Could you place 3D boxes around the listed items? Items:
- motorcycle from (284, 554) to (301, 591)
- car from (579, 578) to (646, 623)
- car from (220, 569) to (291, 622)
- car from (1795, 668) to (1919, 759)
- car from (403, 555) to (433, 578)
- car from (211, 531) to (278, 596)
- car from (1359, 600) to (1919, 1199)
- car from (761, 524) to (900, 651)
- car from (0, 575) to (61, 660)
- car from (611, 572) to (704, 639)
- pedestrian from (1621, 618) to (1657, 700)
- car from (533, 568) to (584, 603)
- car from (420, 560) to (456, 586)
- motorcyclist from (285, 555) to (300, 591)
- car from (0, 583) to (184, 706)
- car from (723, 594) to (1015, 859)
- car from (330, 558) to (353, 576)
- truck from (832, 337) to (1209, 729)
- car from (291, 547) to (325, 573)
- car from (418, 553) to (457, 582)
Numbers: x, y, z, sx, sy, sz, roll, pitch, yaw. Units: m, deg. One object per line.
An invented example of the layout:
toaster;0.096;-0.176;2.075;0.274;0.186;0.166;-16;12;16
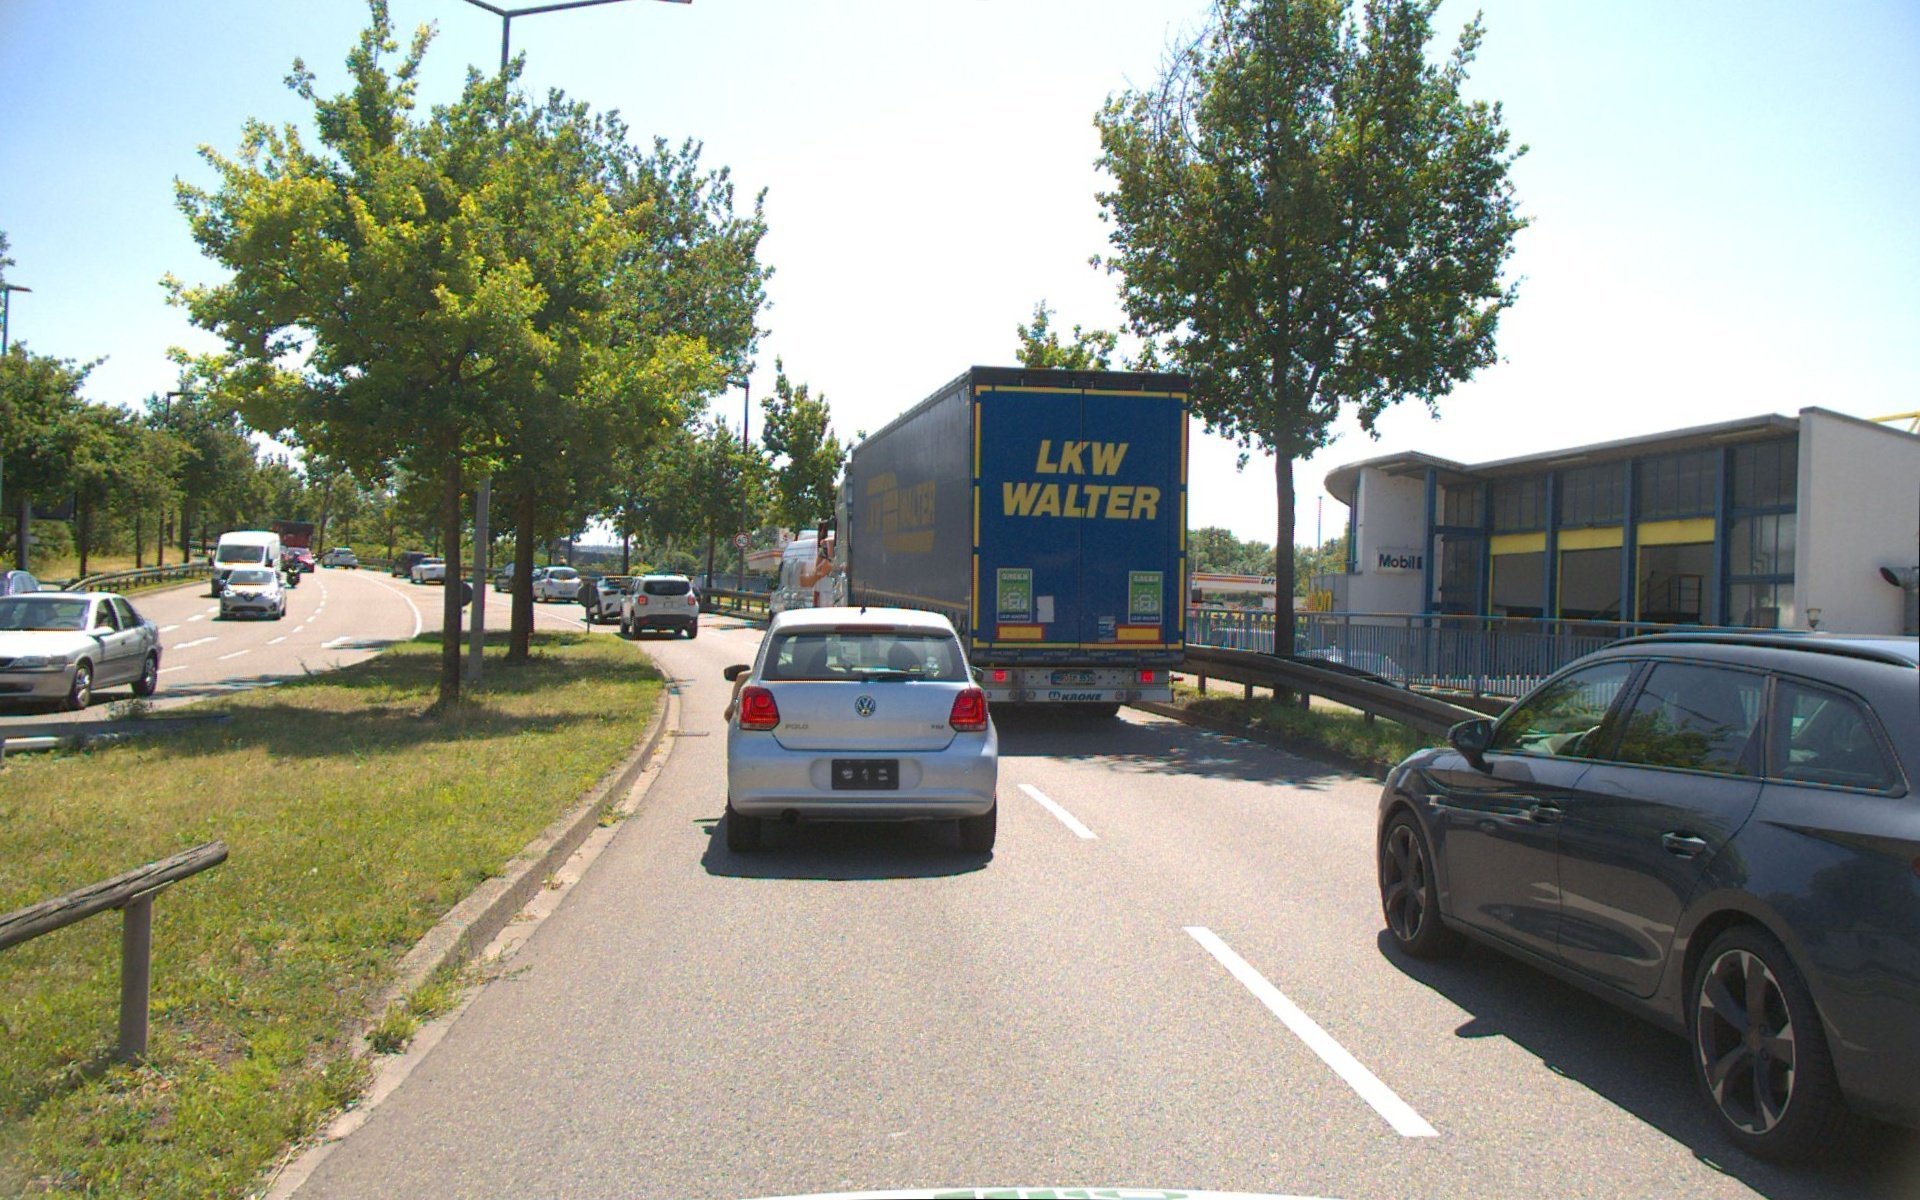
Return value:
motorcycle;-31.153;-1.266;77.207;0.589;1.707;2.411;2;-1;-20
car;-11.299;0.000;53.634;1.474;1.383;3.637;2;0;-23
car;-21.850;-0.126;51.411;1.608;1.594;4.053;0;0;-17
car;16.714;1.937;27.560;4.968;1.381;1.997;1;-1;27
car;-33.119;-2.043;101.027;1.399;1.337;3.312;2;-1;-24
car;-29.025;-1.492;67.237;2.063;2.544;5.778;0;1;-19
car;2.908;0.770;5.737;1.574;1.481;4.228;1;-1;-7
car;-3.411;-0.367;42.185;2.141;2.951;6.328;2;1;-17
car;-19.644;0.327;33.316;1.462;1.661;4.459;1;-1;-12
car;-8.504;0.158;46.282;1.875;1.748;4.199;2;-1;-20
pedestrian;14.548;1.250;35.453;0.512;1.732;0.487;1;-1;-11
car;-16.958;-0.631;69.769;1.585;1.383;3.639;2;0;-21
car;-28.670;-1.476;90.843;1.438;1.337;3.610;2;-1;-24
motorcyclist;-31.151;-1.241;77.196;0.578;1.655;0.559;2;-1;-20
car;-11.490;0.527;21.195;1.603;1.427;4.214;0;0;-8
car;-0.606;0.730;11.093;1.613;1.464;3.534;1;-1;-3
car;-44.542;-2.354;119.035;1.305;1.158;2.971;2;-1;-25
truck;0.069;-0.783;26.514;2.781;4.271;16.438;1;0;-9
car;-40.721;-2.497;103.297;1.804;1.462;4.499;-1;0;-20
car;-28.713;-1.782;90.827;1.643;1.490;3.553;2;-1;-24
